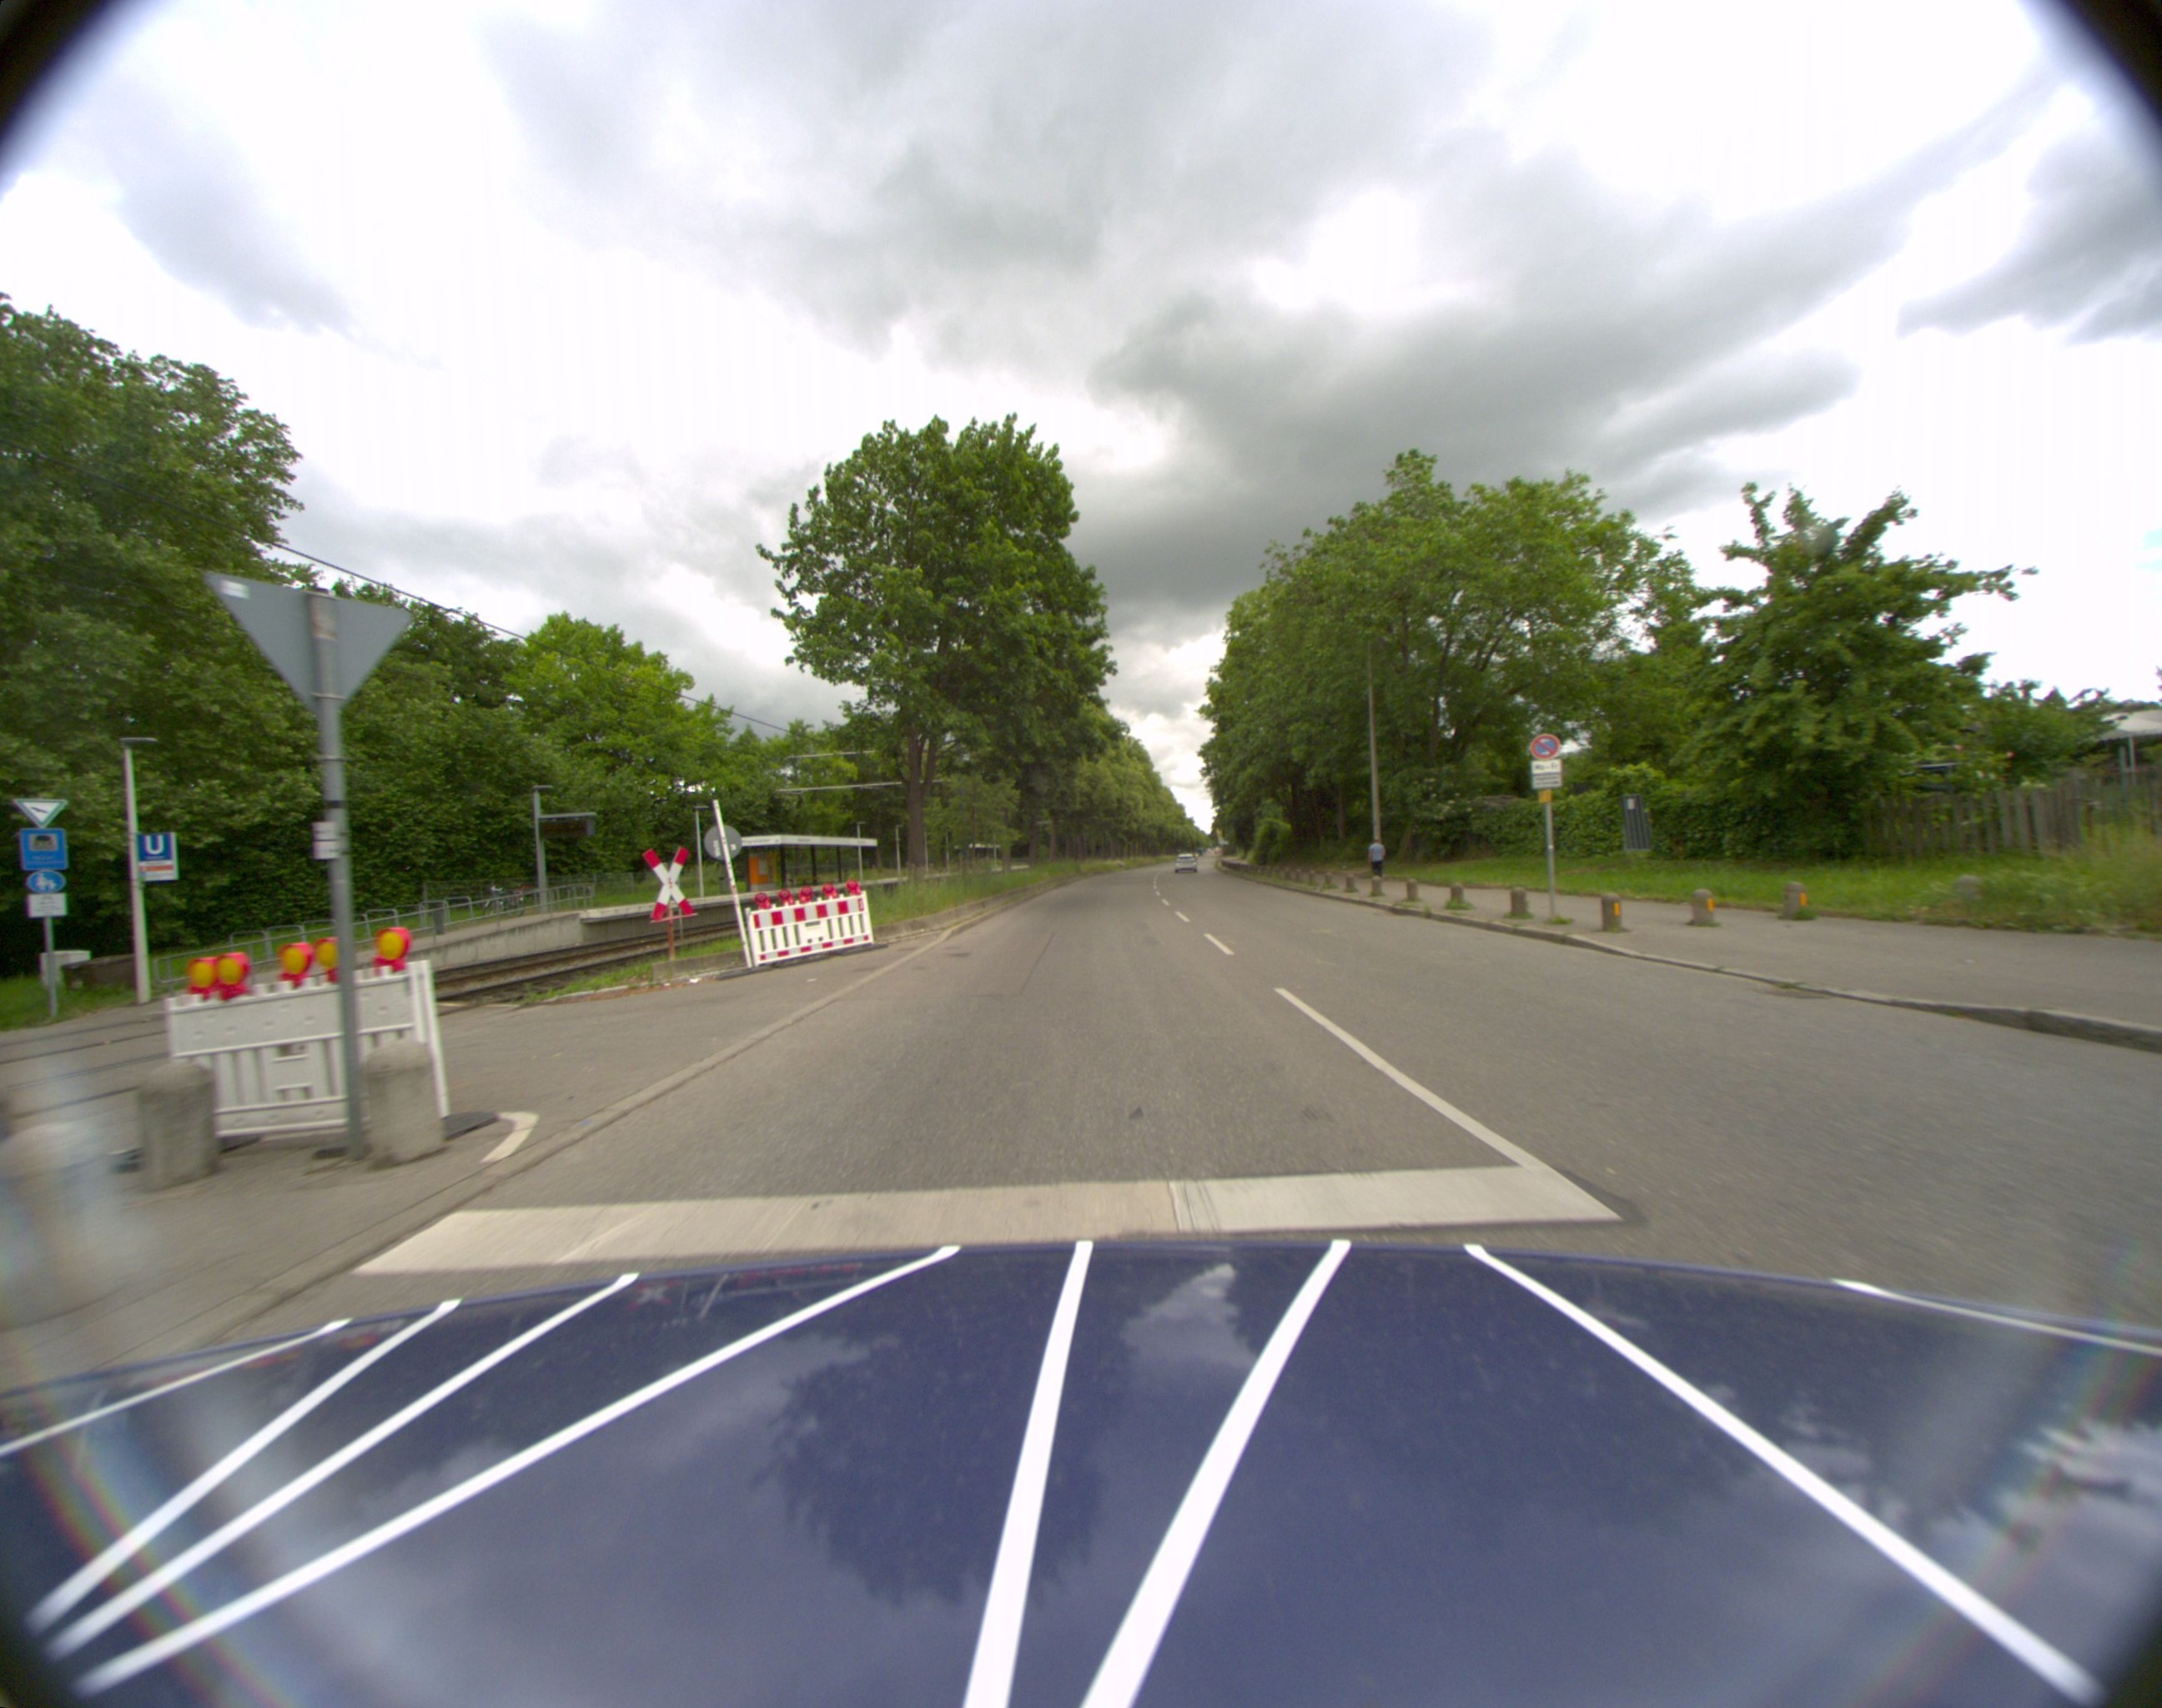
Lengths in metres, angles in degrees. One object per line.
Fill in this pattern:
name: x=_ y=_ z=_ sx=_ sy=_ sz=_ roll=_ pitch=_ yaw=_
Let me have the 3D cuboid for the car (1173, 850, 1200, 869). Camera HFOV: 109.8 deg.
car: x=8.562 y=0.436 z=61.873 sx=1.777 sy=1.431 sz=4.362 roll=-2 pitch=0 yaw=3

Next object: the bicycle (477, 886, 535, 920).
bicycle: x=-18.952 y=1.606 z=25.040 sx=1.512 sy=0.968 sz=0.450 roll=-5 pitch=0 yaw=2

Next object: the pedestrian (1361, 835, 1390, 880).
pedestrian: x=10.948 y=0.126 z=28.288 sx=0.691 sy=1.624 sz=0.838 roll=-5 pitch=0 yaw=5
